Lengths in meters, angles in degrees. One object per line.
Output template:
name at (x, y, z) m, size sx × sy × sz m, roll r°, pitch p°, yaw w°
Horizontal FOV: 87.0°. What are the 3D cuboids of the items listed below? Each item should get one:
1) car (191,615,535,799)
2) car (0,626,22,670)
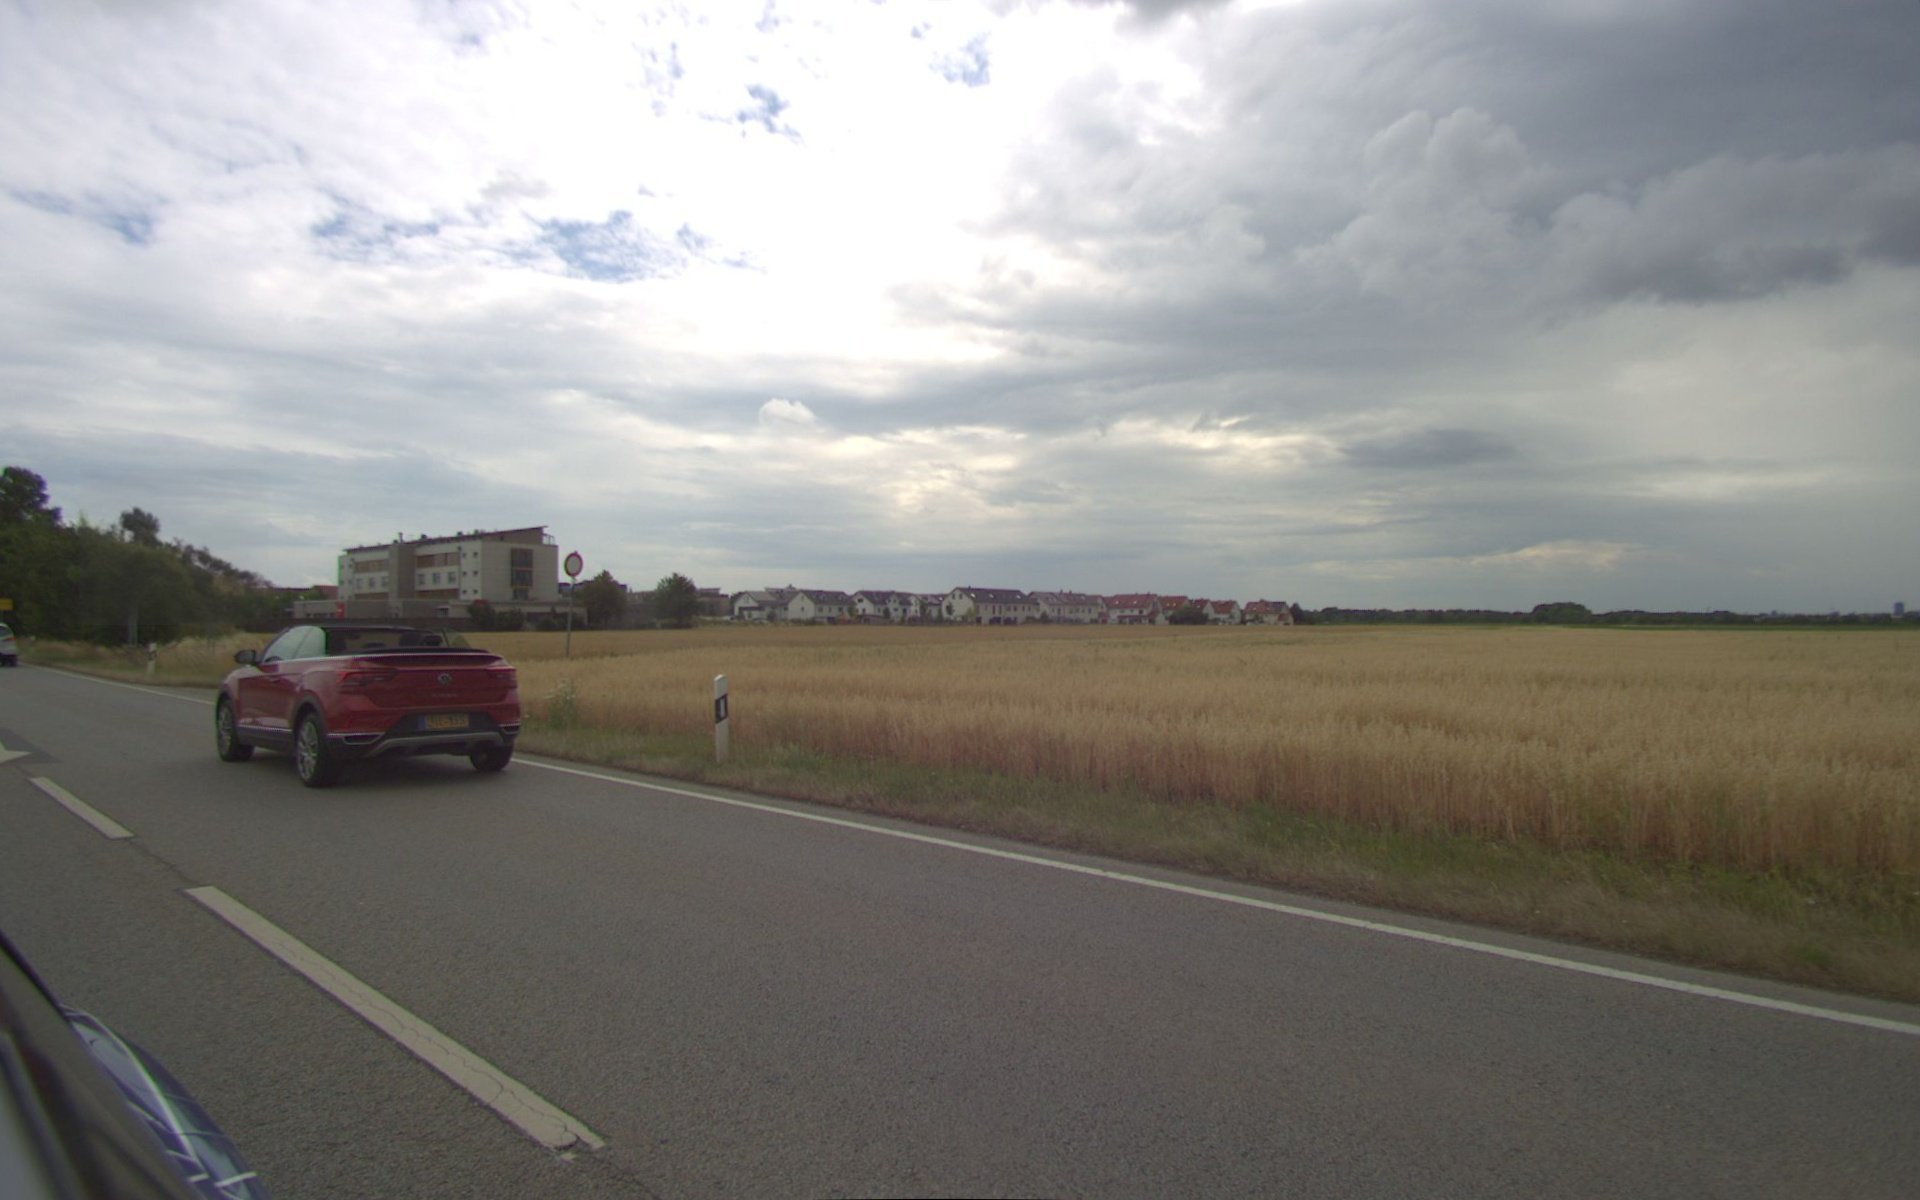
car at (-6.289, 0.937, 10.418) m, size 4.606 × 1.500 × 1.694 m, roll -2°, pitch -2°, yaw 41°
car at (-34.008, 1.644, 35.053) m, size 4.111 × 1.468 × 1.787 m, roll -2°, pitch -2°, yaw 41°
